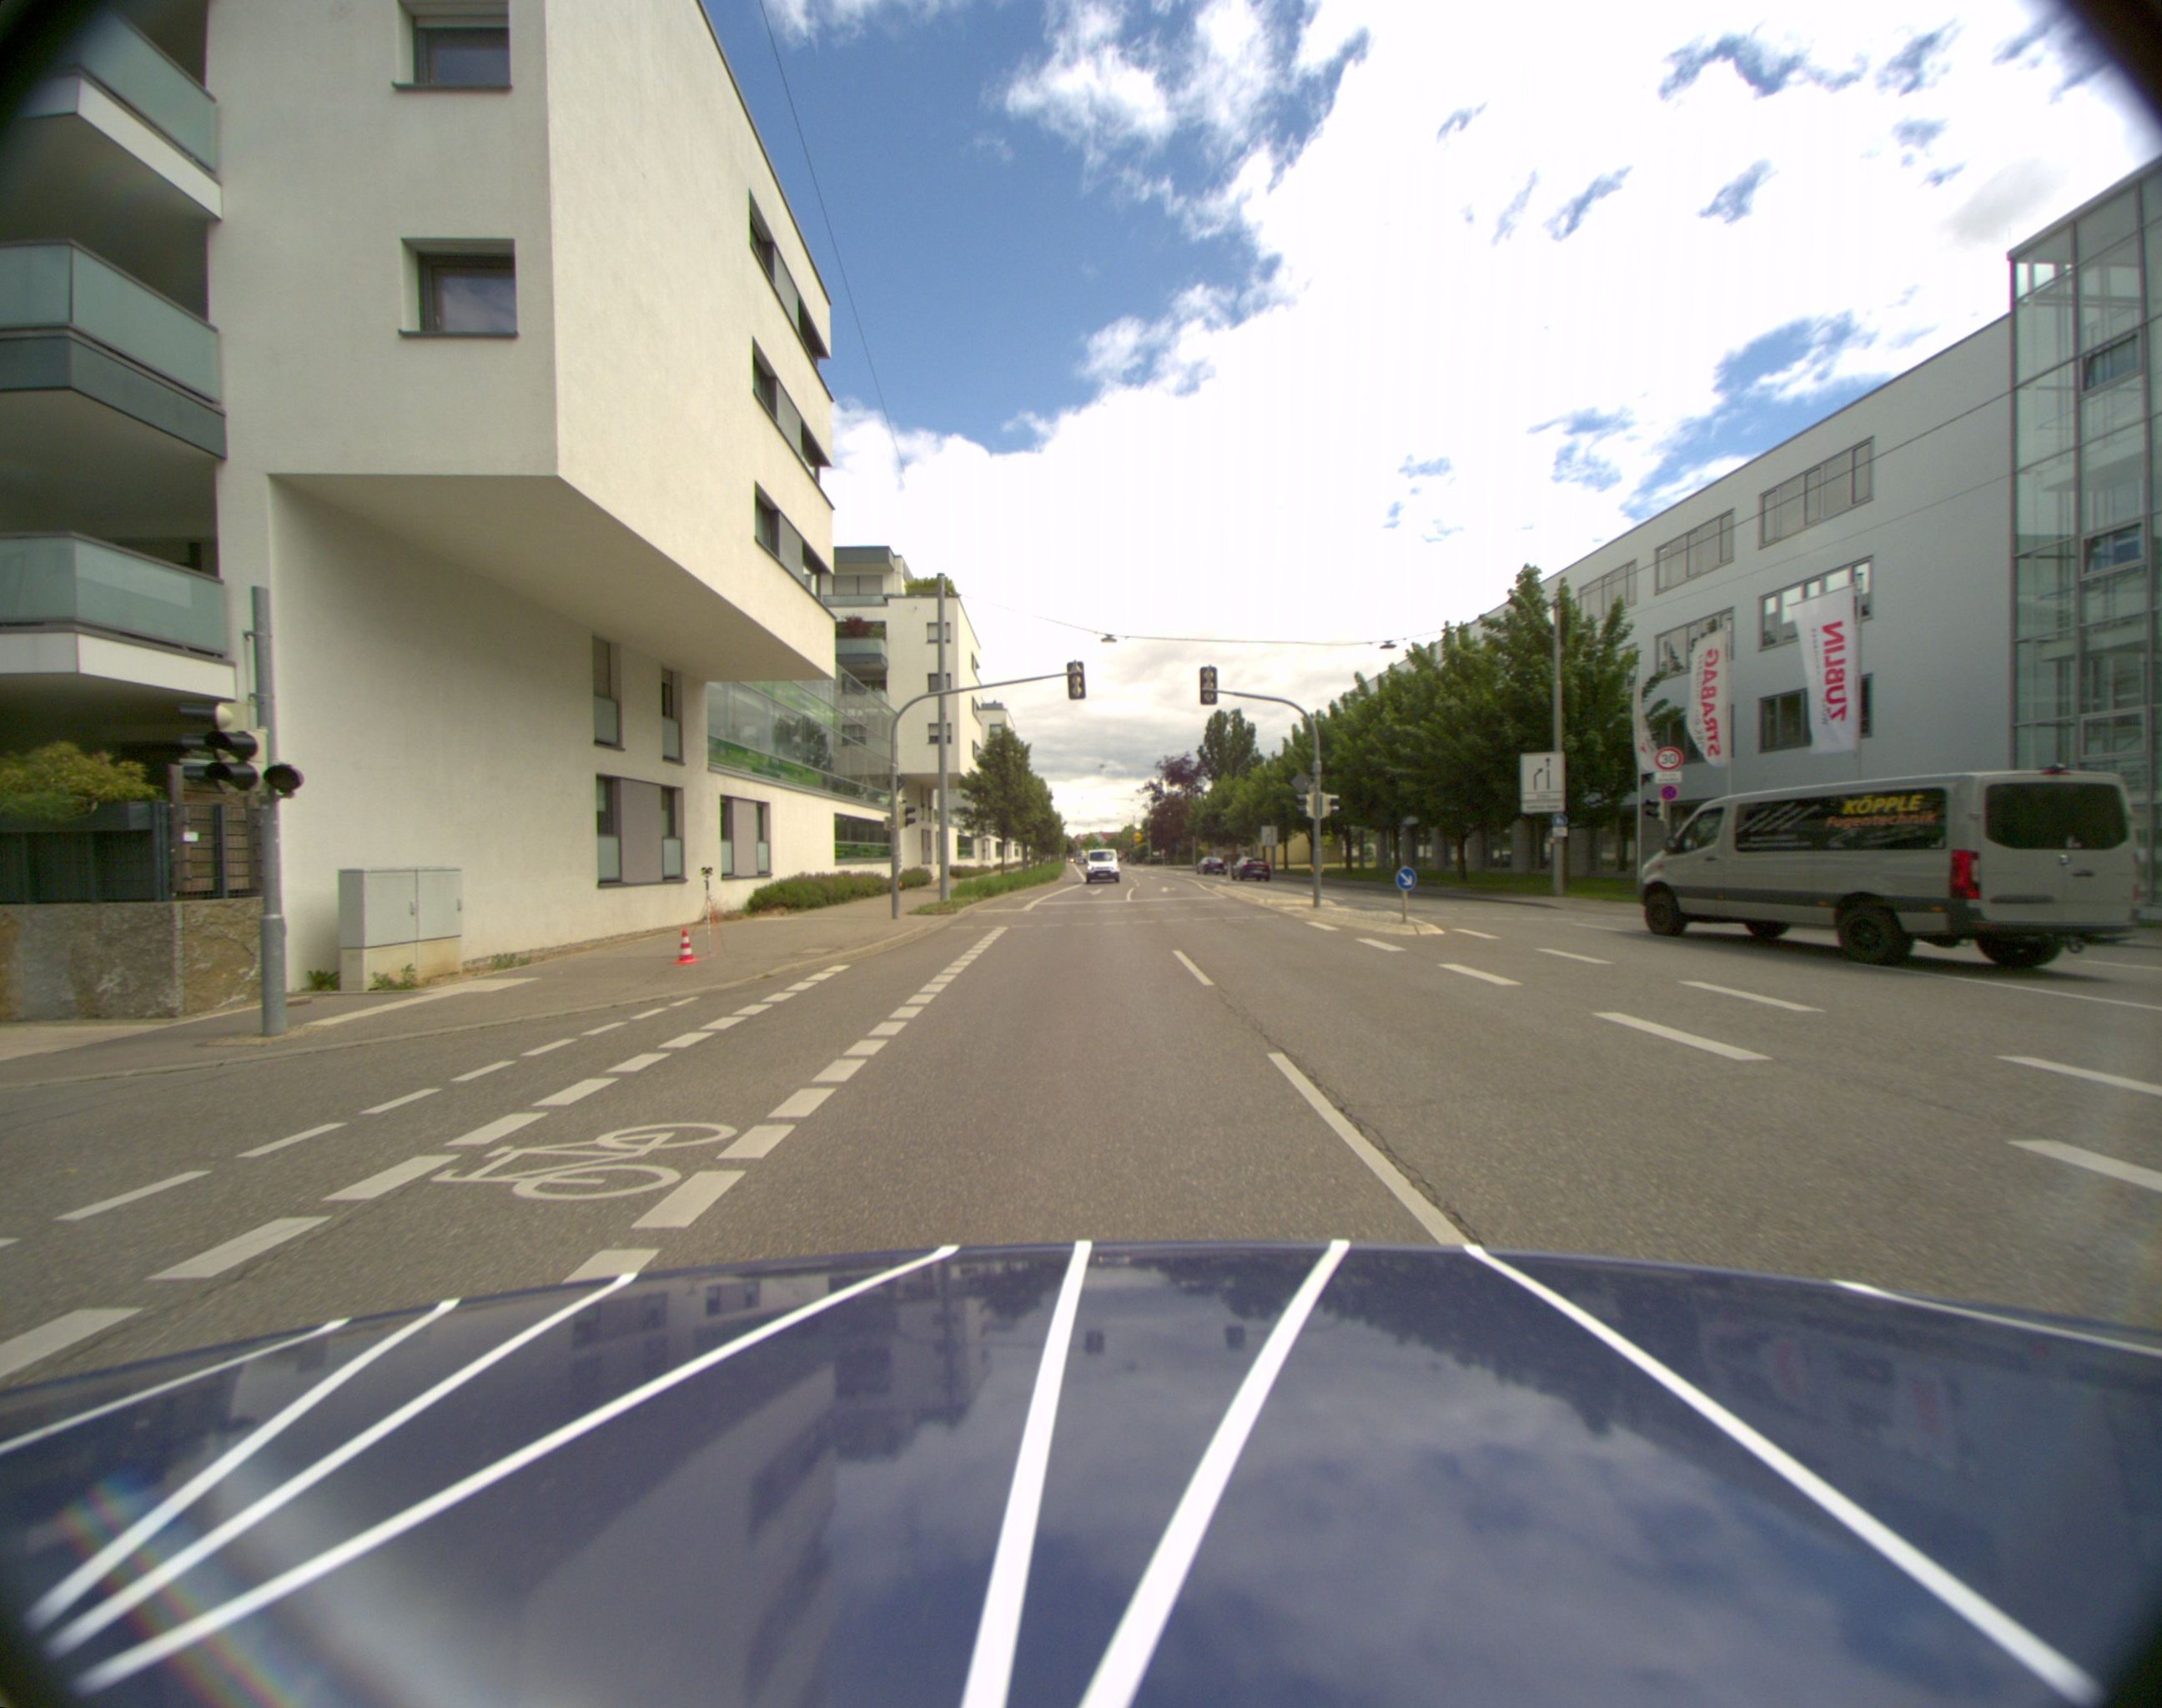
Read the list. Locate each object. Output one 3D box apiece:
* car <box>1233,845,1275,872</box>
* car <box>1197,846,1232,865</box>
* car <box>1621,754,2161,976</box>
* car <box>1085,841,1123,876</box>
[{"bbox_3d":[10.872,0.259,48.002,1.889,1.543,4.539,0,2,3],"label":"car"},{"bbox_3d":[11.453,0.111,65.492,2.029,1.437,5.048,1,1,-1],"label":"car"},{"bbox_3d":[11.300,0.069,11.472,2.147,2.458,6.073,1,1,3],"label":"car"},{"bbox_3d":[1.339,0.235,45.781,1.999,1.906,3.998,-2,2,-1],"label":"car"}]
